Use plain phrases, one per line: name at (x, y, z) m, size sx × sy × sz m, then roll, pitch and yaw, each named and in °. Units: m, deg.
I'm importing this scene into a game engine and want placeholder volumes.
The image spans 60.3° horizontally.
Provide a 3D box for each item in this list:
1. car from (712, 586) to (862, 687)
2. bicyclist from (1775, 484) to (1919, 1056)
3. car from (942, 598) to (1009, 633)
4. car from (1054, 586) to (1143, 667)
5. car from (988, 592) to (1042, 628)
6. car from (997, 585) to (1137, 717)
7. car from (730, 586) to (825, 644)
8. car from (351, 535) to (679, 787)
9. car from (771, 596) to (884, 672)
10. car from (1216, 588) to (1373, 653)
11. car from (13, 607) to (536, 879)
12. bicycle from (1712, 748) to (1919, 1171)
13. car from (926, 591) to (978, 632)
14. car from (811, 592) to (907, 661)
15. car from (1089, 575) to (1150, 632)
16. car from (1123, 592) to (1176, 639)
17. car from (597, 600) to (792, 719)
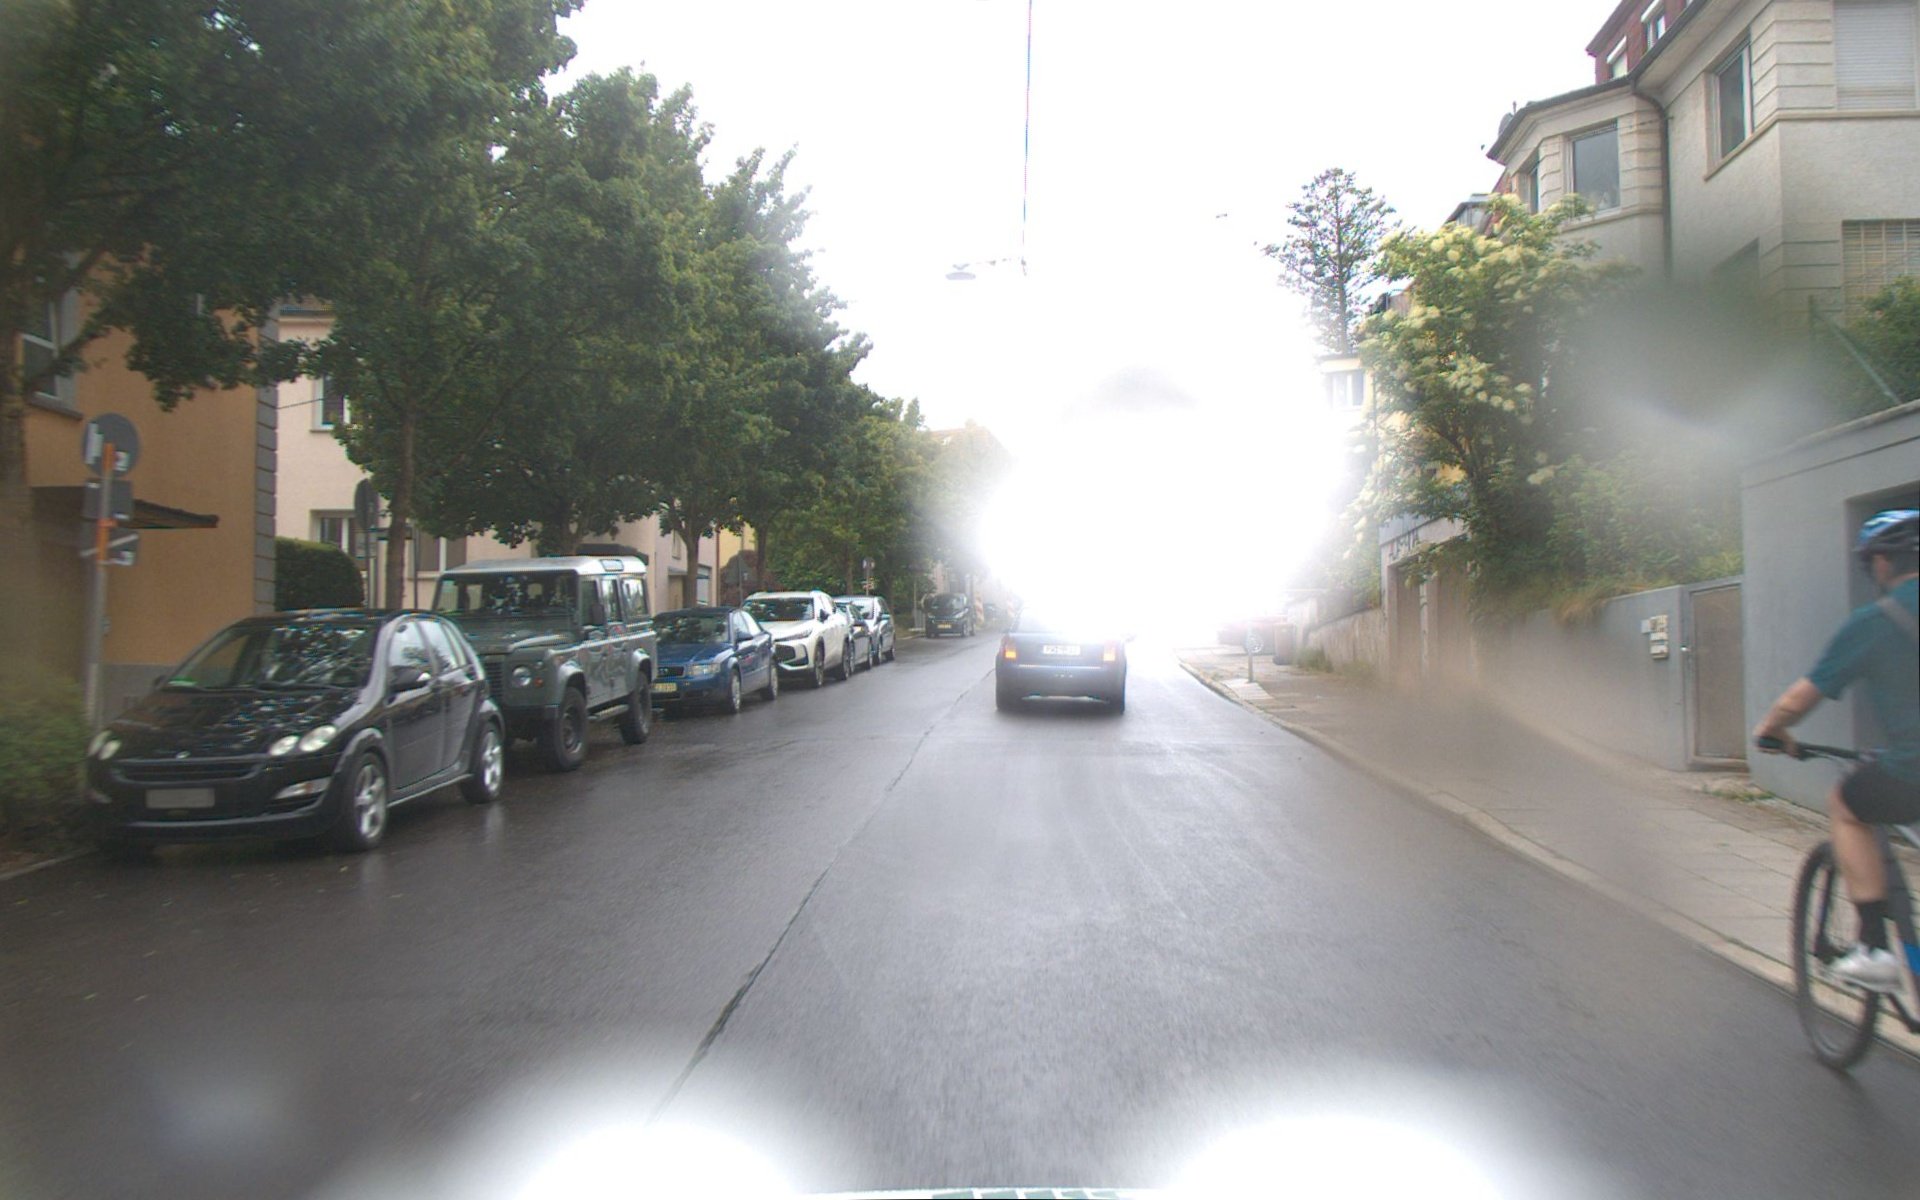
car at (-3.045, 0.624, 30.042) m, size 1.731 × 1.655 × 4.693 m, roll -2°, pitch 0°, yaw 6°
bicyclist at (2.884, 0.444, 4.704) m, size 0.710 × 1.498 × 0.886 m, roll 0°, pitch 0°, yaw 2°
car at (0.836, 0.836, 89.642) m, size 3.145 × 1.395 × 1.480 m, roll -7°, pitch 1°, yaw 21°
car at (3.376, 0.580, 39.656) m, size 1.933 × 1.663 × 4.239 m, roll 2°, pitch 2°, yaw 7°
car at (2.603, 0.447, 77.518) m, size 1.697 × 1.492 × 4.004 m, roll 2°, pitch 2°, yaw 14°
car at (1.507, 0.619, 22.722) m, size 1.697 × 1.492 × 4.003 m, roll 2°, pitch 2°, yaw 5°
car at (-6.827, 0.542, 61.957) m, size 3.143 × 1.770 × 1.481 m, roll -6°, pitch 1°, yaw 6°
car at (-4.251, 0.488, 16.684) m, size 1.754 × 2.085 × 4.783 m, roll -3°, pitch 1°, yaw 2°
car at (-2.775, 0.694, 35.456) m, size 1.731 × 1.499 × 4.010 m, roll -1°, pitch 0°, yaw 5°
car at (8.634, 0.517, 42.953) m, size 3.902 × 1.492 × 1.741 m, roll -2°, pitch 1°, yaw 9°
car at (-4.439, 0.817, 11.535) m, size 1.732 × 1.461 × 4.348 m, roll -2°, pitch 0°, yaw 1°
bicycle at (2.884, 1.001, 4.763) m, size 0.715 × 0.981 × 1.671 m, roll 1°, pitch 0°, yaw 2°
car at (-0.276, 0.398, 60.052) m, size 1.443 × 1.318 × 3.223 m, roll 2°, pitch 2°, yaw 7°
car at (-2.424, 0.641, 40.646) m, size 1.731 × 1.566 × 4.010 m, roll -2°, pitch -1°, yaw 5°
car at (5.601, 0.086, 57.801) m, size 1.696 × 1.799 × 4.239 m, roll 2°, pitch 2°, yaw 10°
car at (8.222, 0.650, 71.511) m, size 1.697 × 1.799 × 4.239 m, roll 2°, pitch 2°, yaw 14°
car at (-3.716, 0.784, 23.999) m, size 1.731 × 1.411 × 4.637 m, roll -2°, pitch 1°, yaw 4°
